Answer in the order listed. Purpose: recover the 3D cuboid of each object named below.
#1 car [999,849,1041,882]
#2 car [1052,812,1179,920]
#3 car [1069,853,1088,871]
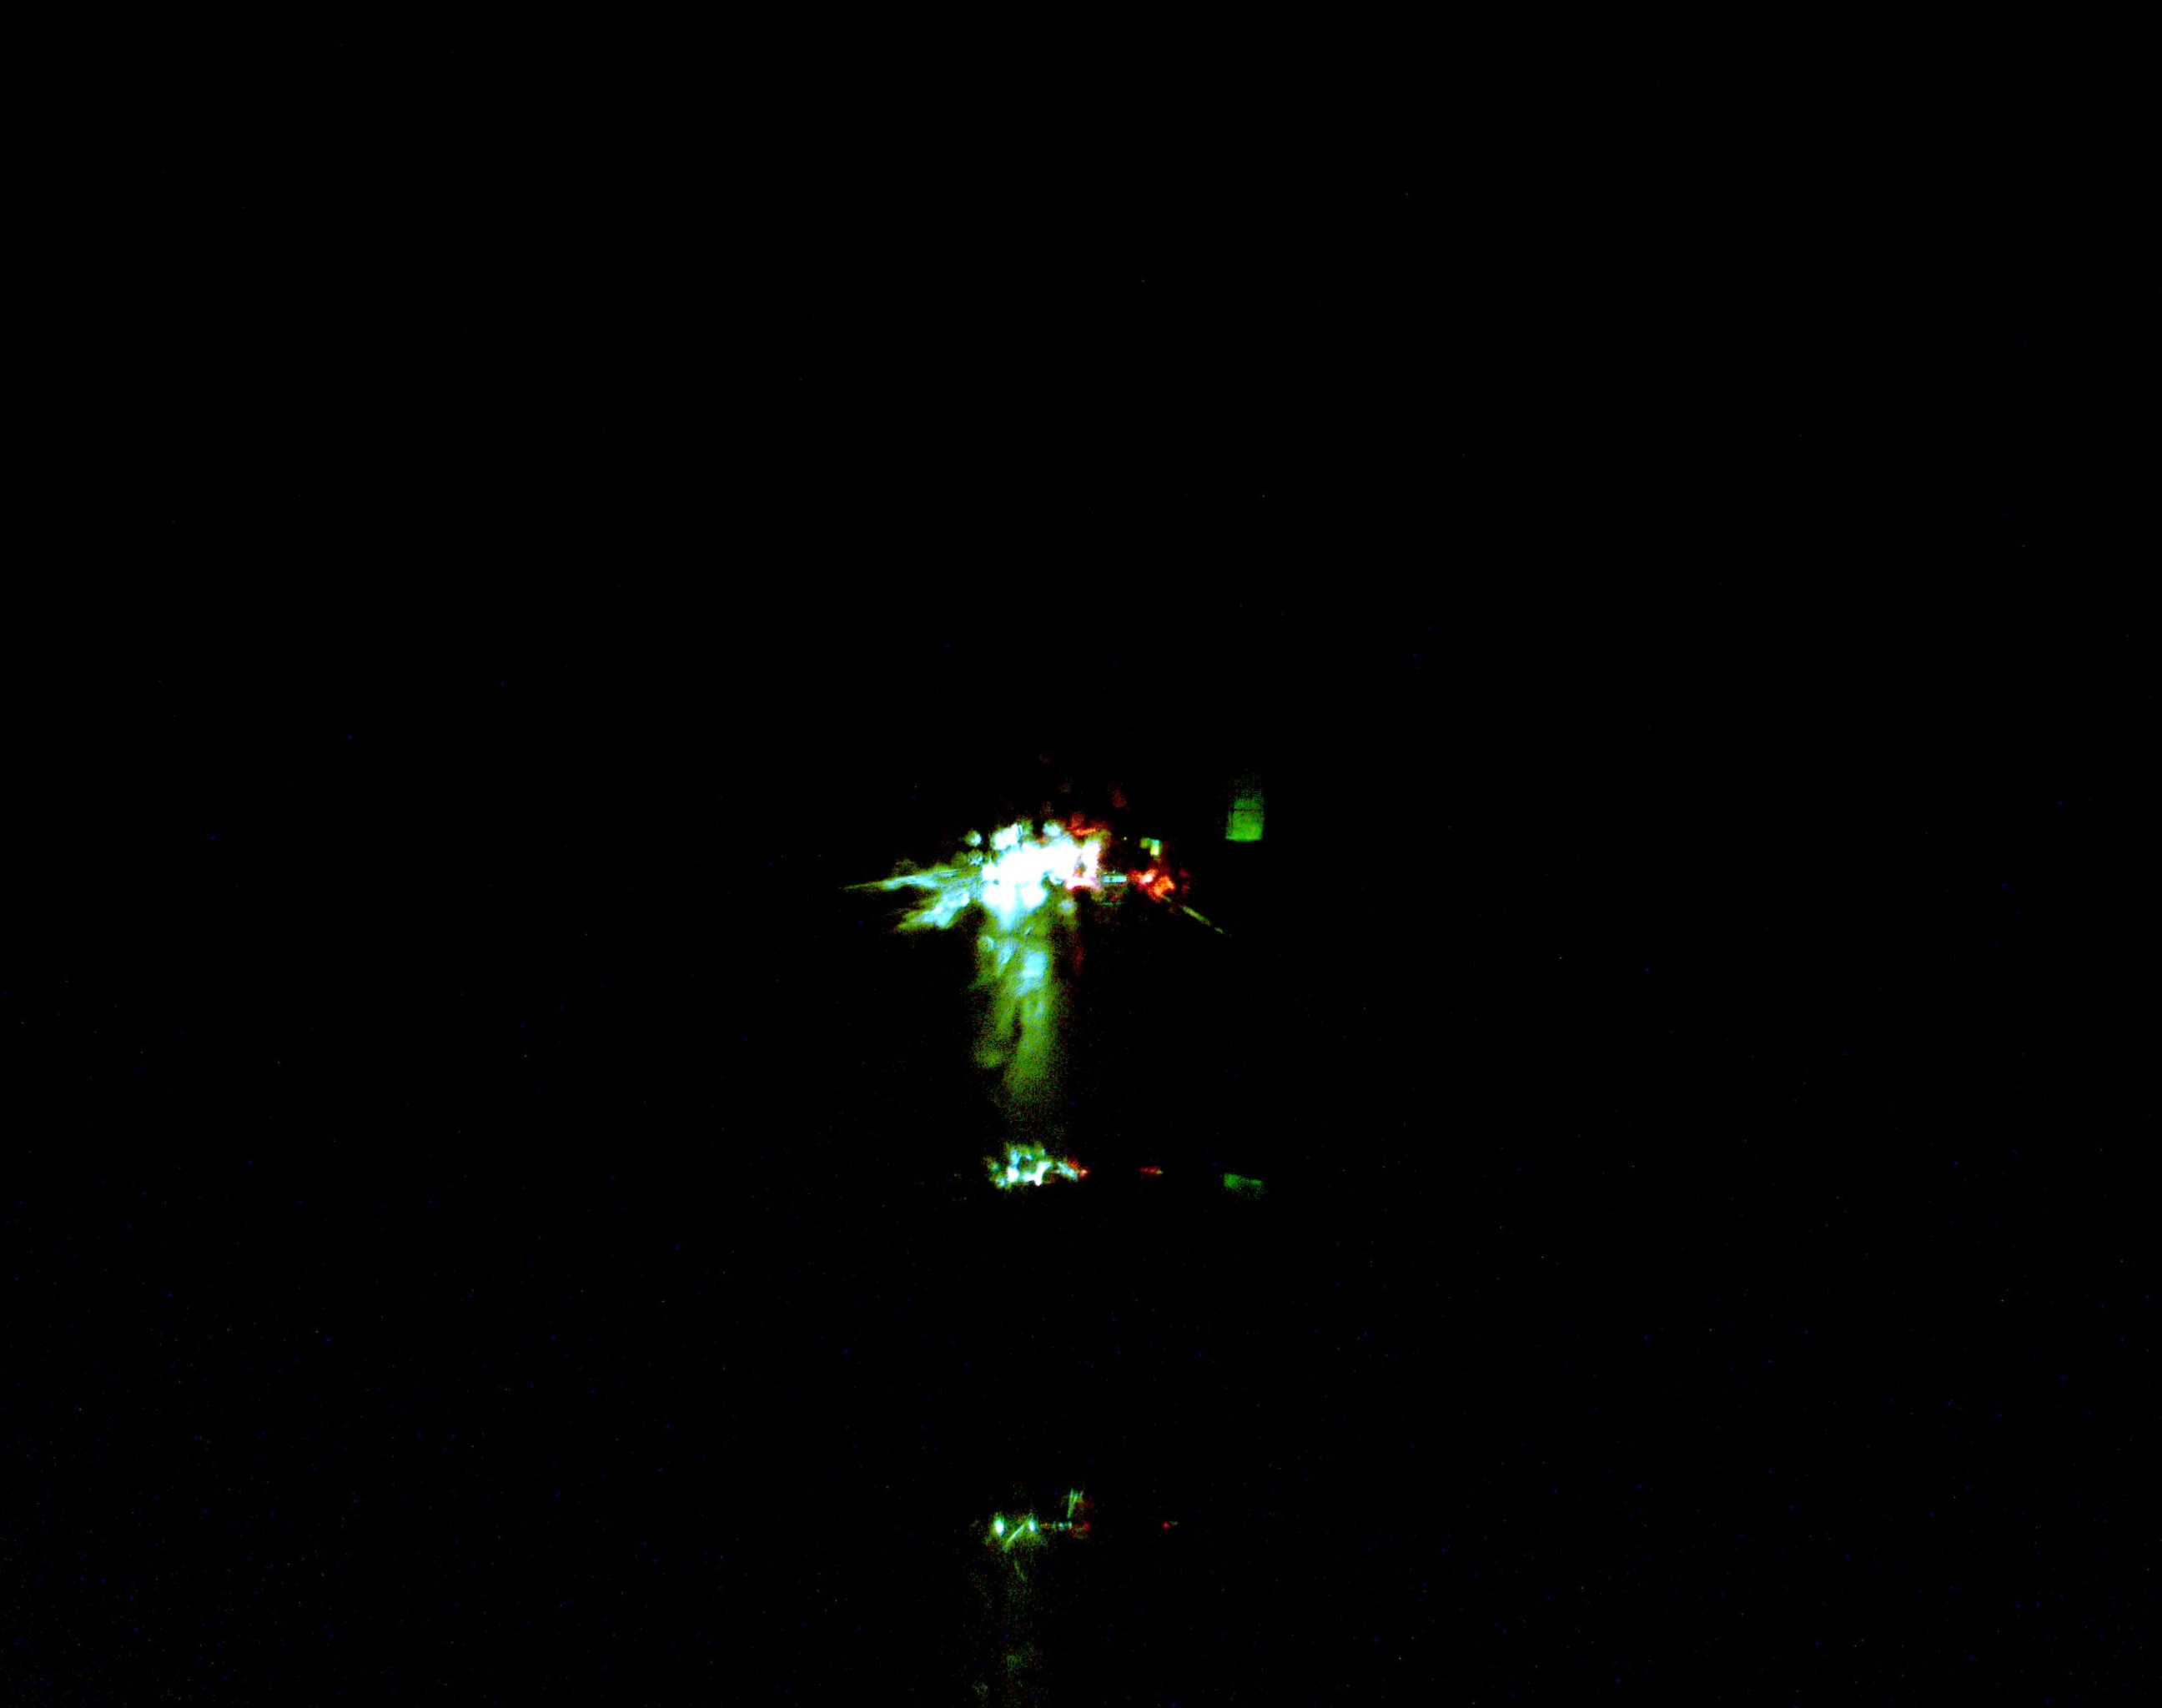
[{"bbox_3d":[-3.136,0.551,42.715,1.856,1.544,4.229,0,1,0],"label":"car"},{"bbox_3d":[0.658,0.239,20.444,2.708,2.307,6.096,0,0,-2],"label":"car"},{"bbox_3d":[-0.214,0.854,90.176,1.986,1.915,4.000,1,0,1],"label":"car"}]
